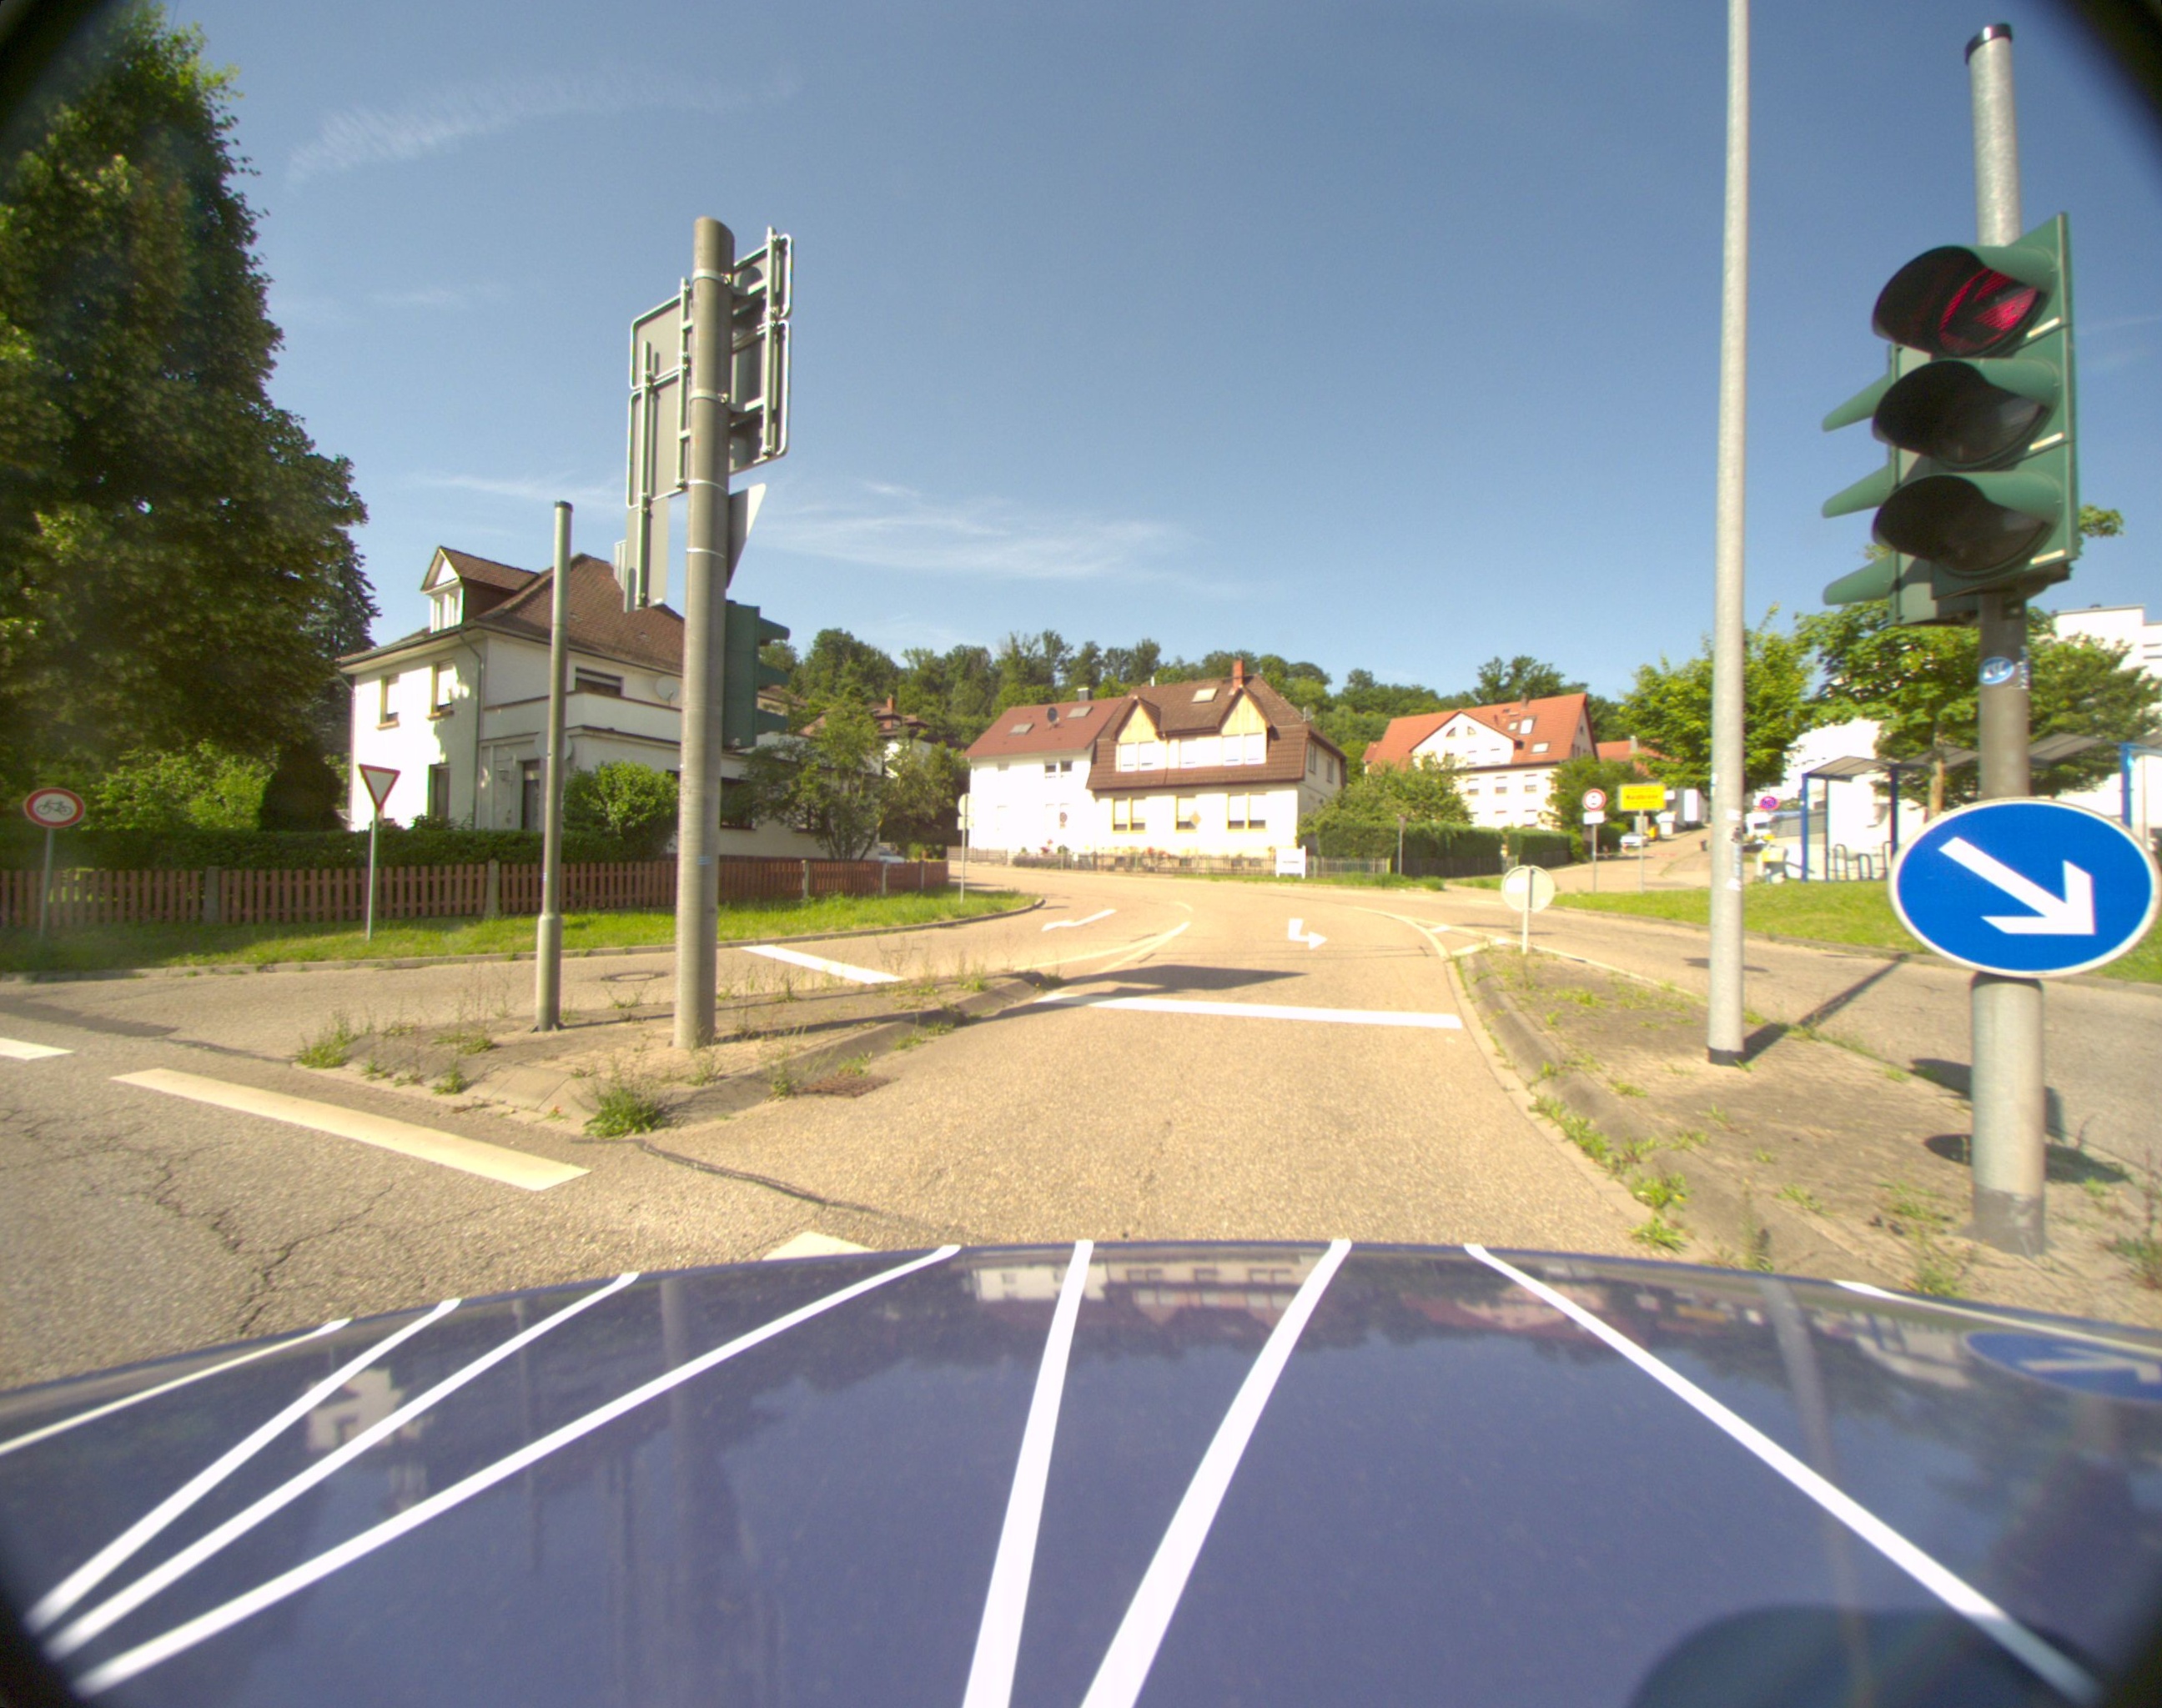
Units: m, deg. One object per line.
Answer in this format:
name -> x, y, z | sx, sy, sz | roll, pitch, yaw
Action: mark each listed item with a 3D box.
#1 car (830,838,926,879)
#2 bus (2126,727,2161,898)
car -> -8.875, 0.194, 33.083 | 3.989, 1.628, 1.944 | -2, 1, 38
bus -> 26.650, -0.958, 11.638 | 2.872, 3.692, 12.197 | -3, 1, -21
